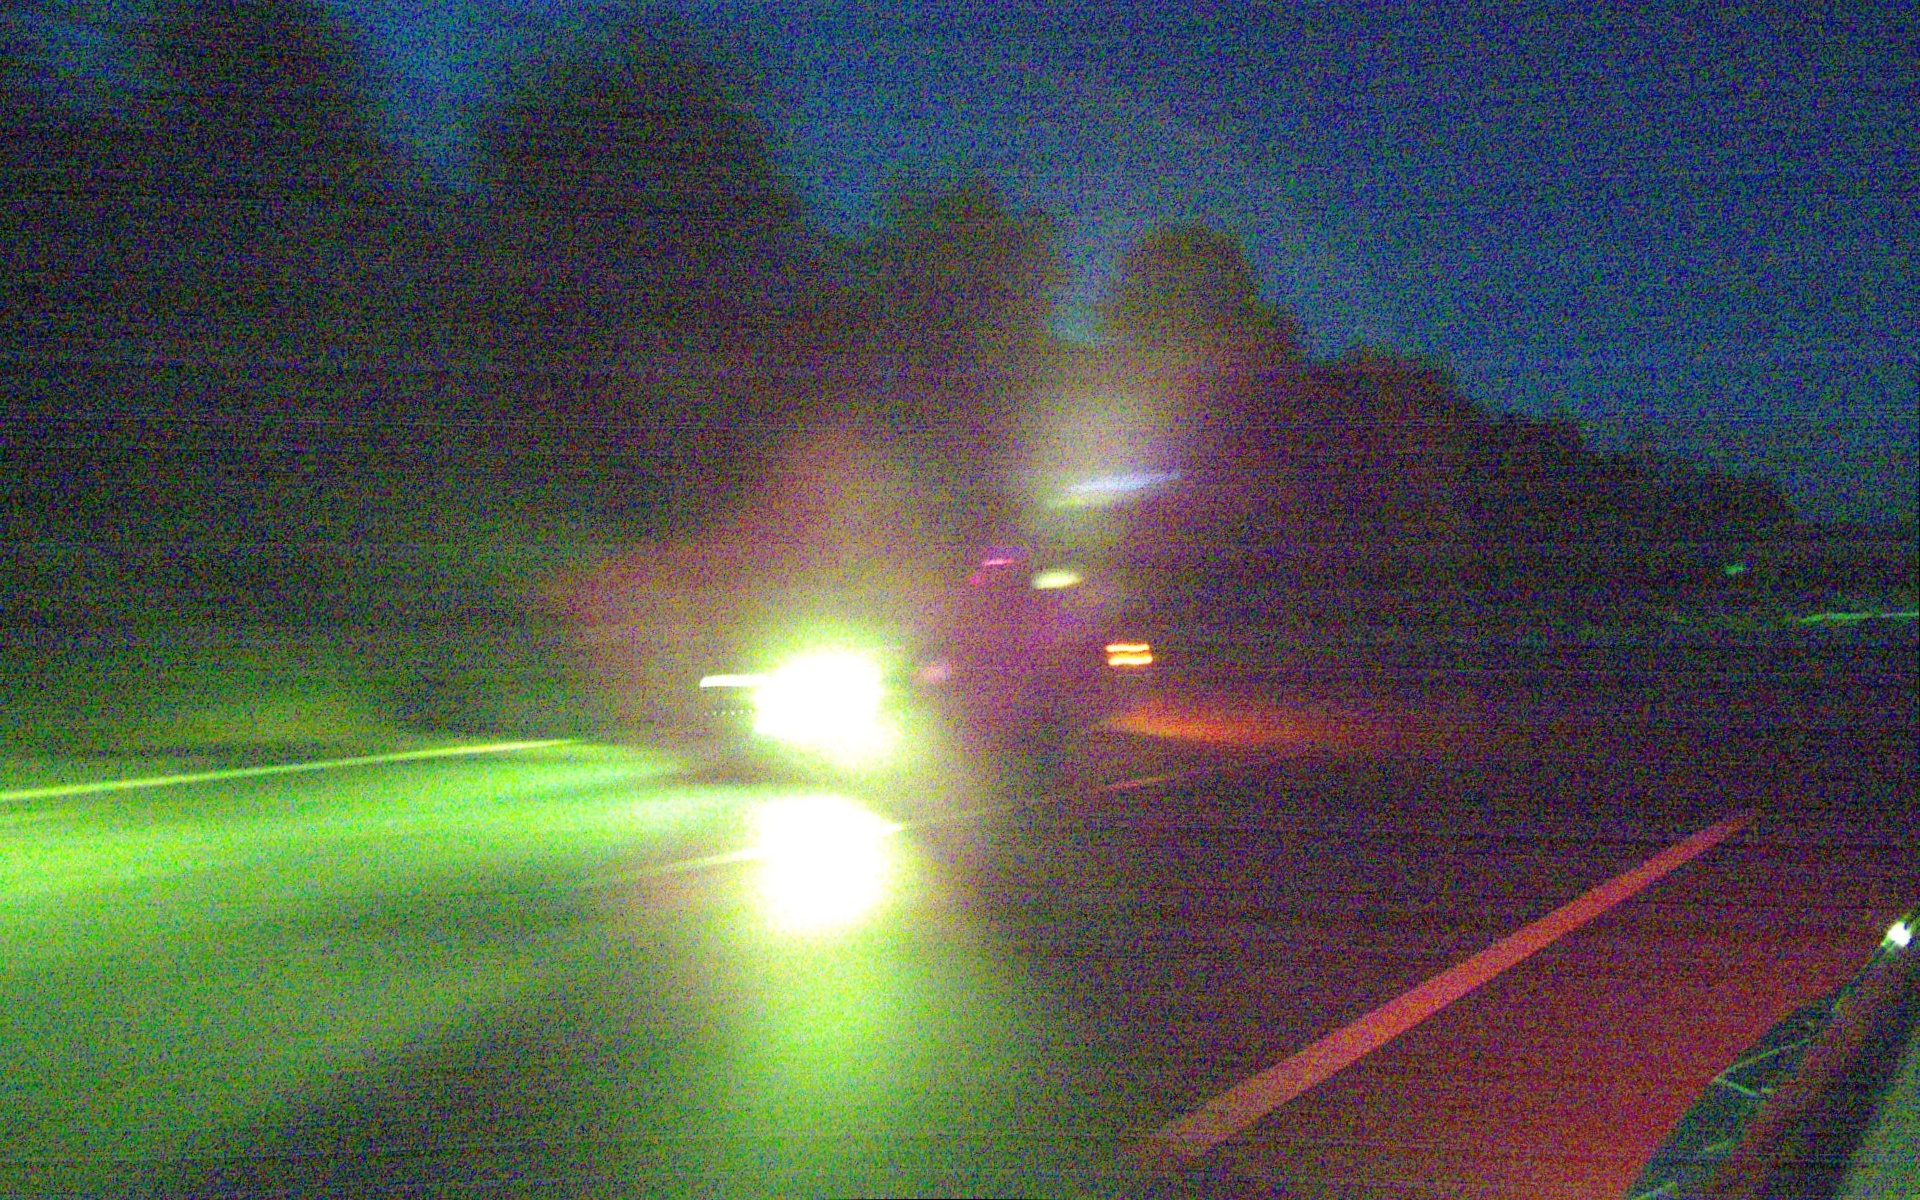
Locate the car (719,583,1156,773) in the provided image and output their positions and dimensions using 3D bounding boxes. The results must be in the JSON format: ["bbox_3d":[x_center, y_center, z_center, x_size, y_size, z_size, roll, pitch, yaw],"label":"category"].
[{"bbox_3d":[-0.062,0.611,10.005,4.175,1.485,1.823,0,0,-43],"label":"car"}]
